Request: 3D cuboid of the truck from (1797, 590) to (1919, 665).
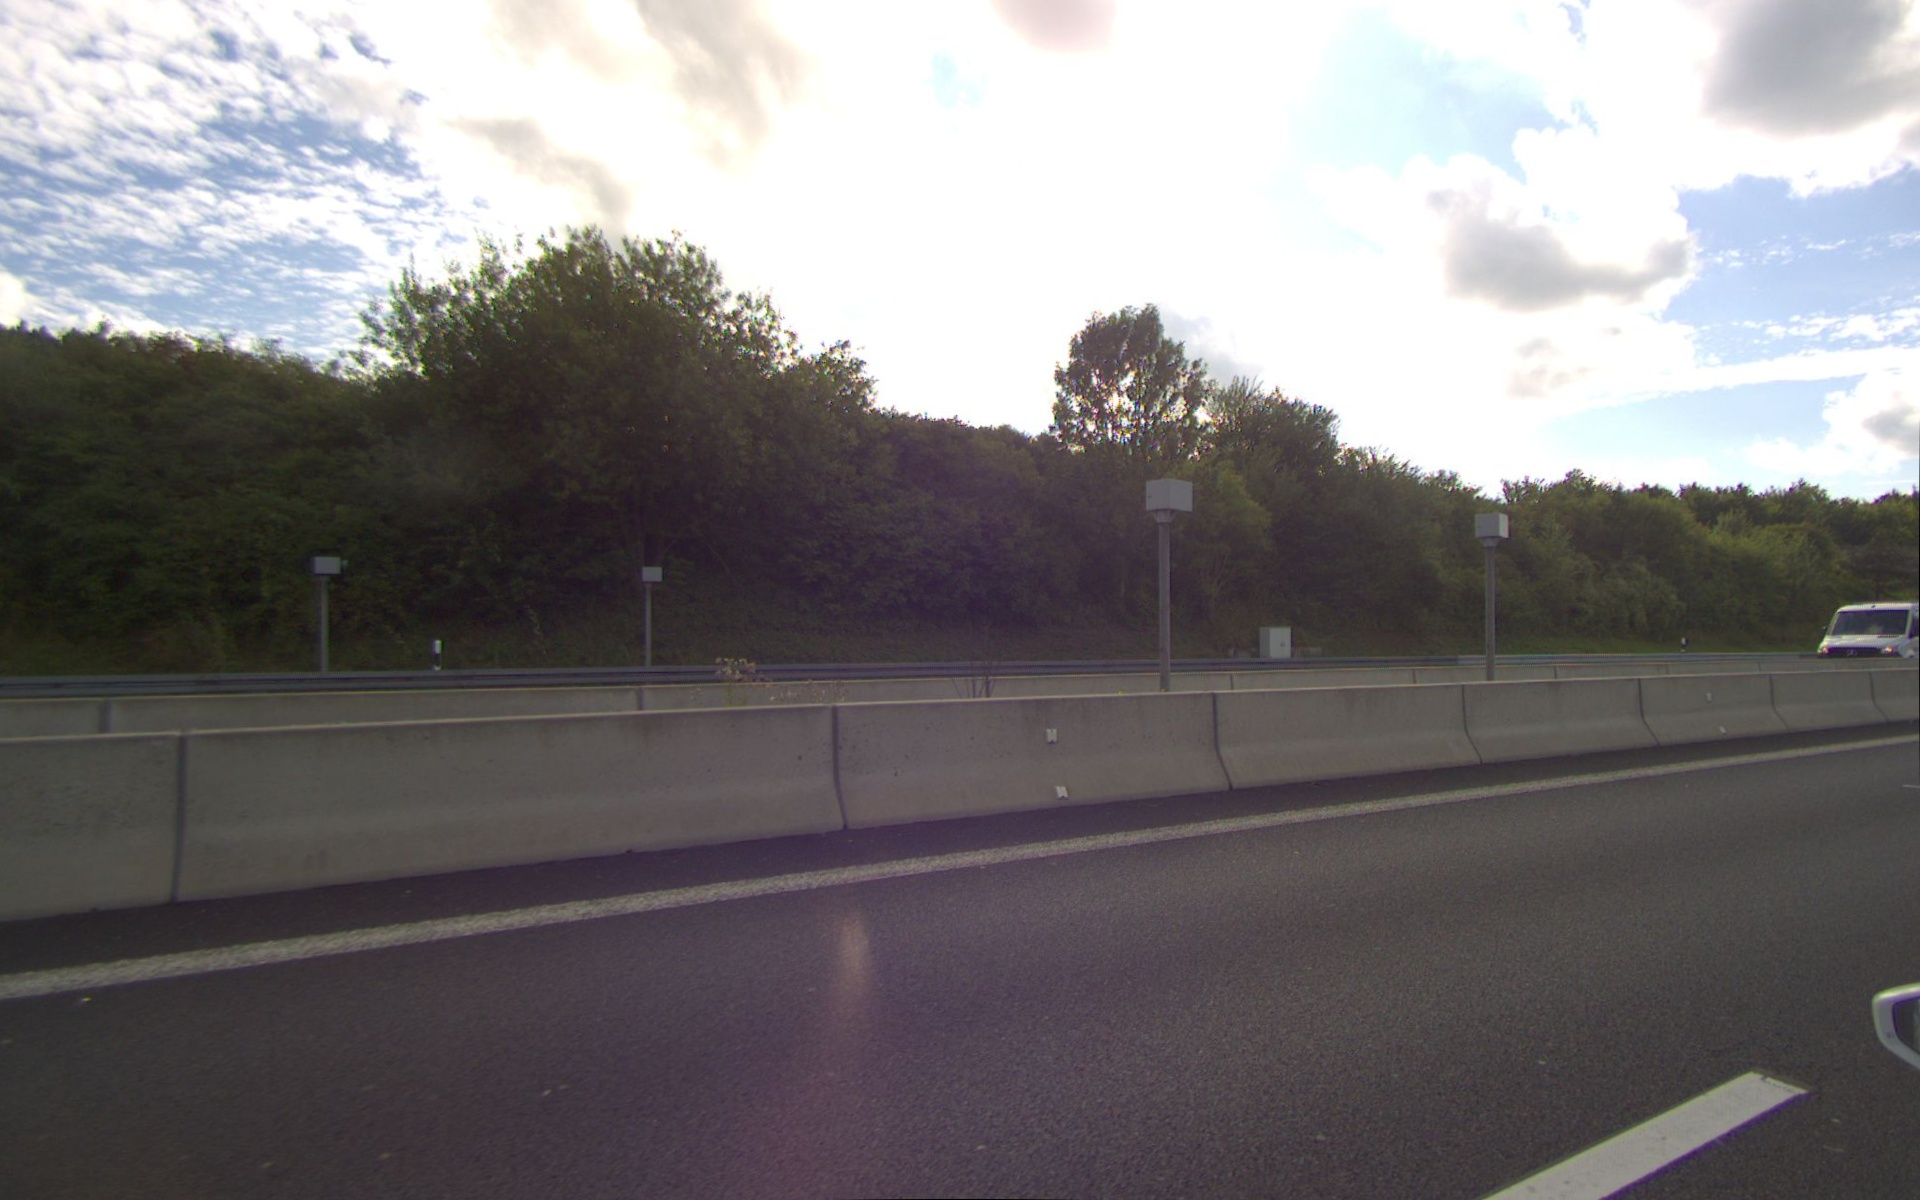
[{"bbox_3d":[28.159,0.876,30.126,7.350,2.040,2.365,1,-3,-31],"label":"truck"}]
